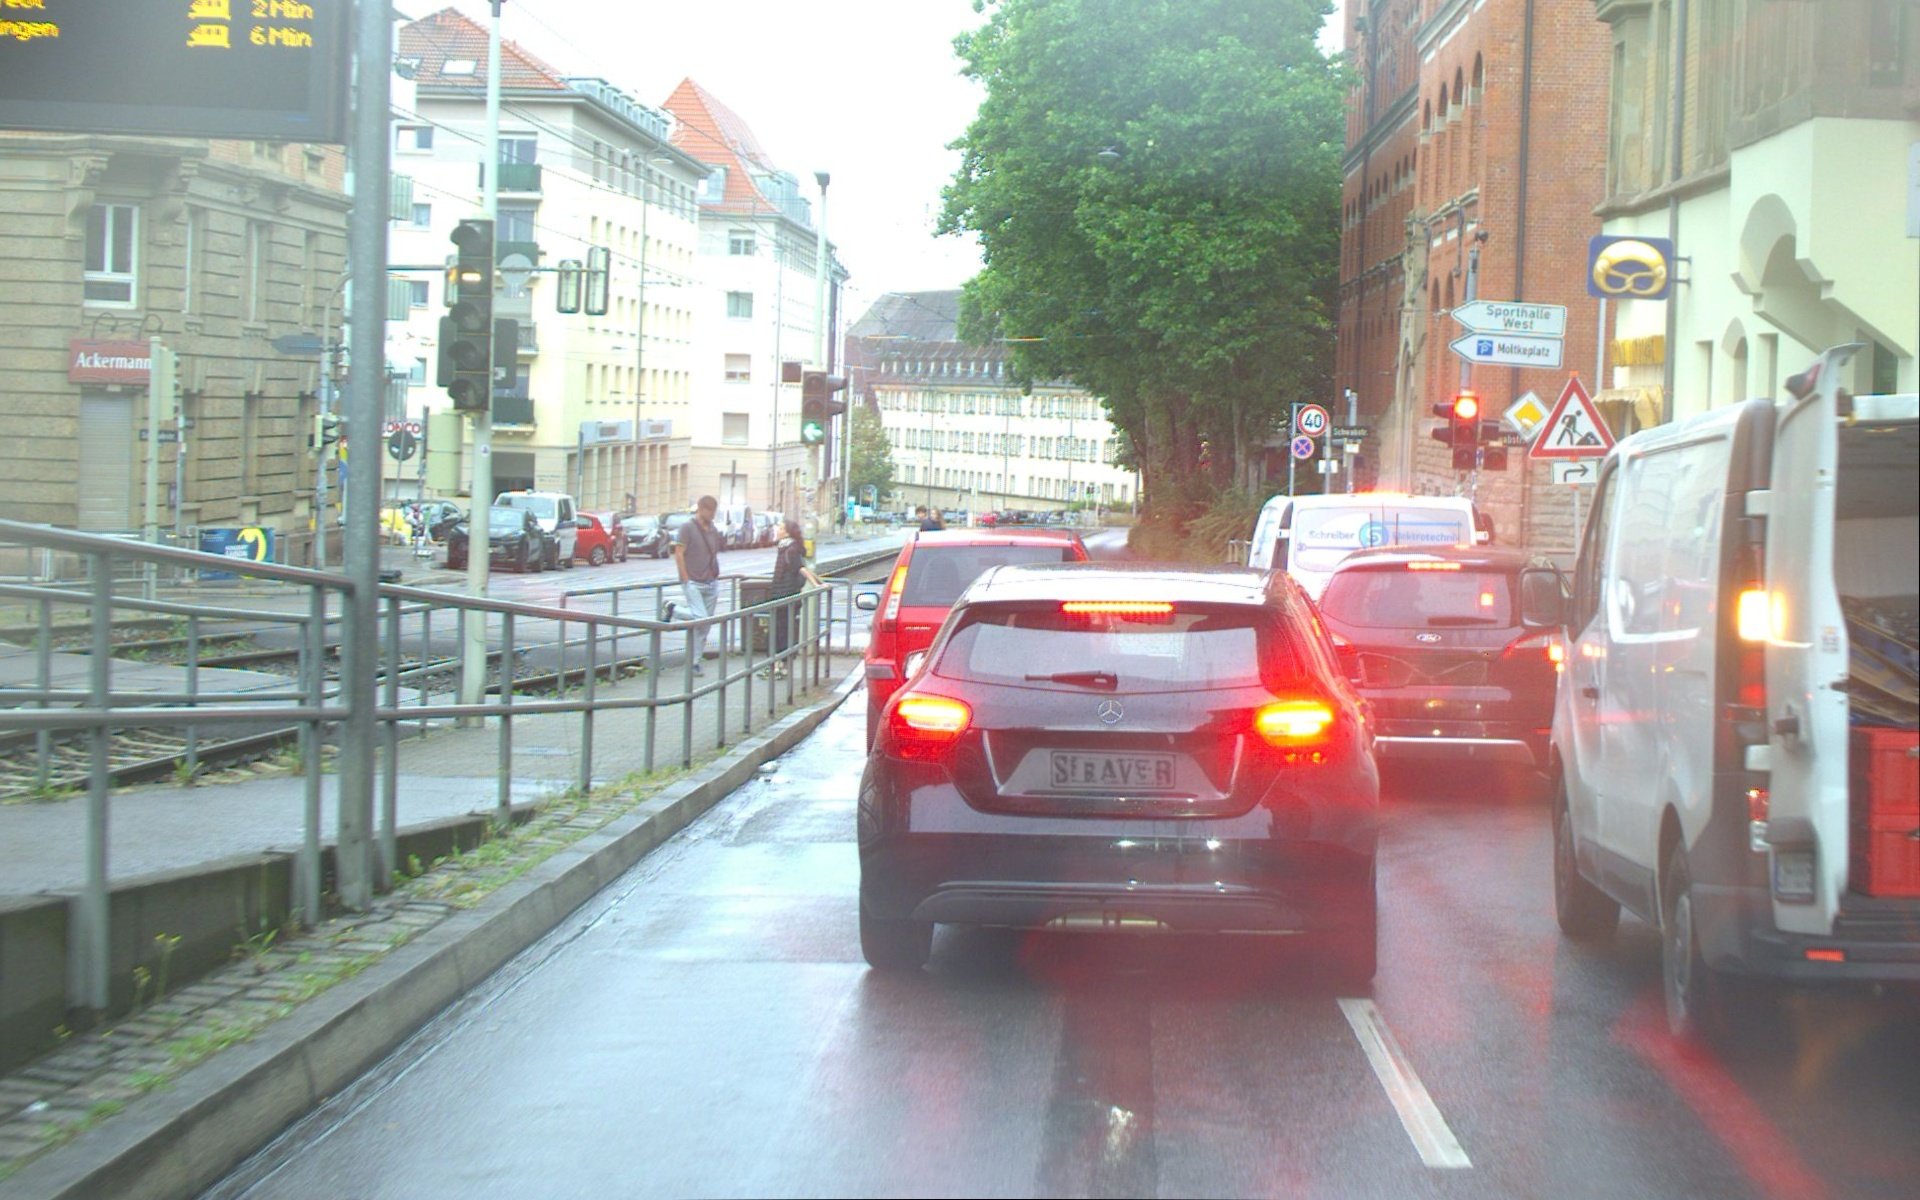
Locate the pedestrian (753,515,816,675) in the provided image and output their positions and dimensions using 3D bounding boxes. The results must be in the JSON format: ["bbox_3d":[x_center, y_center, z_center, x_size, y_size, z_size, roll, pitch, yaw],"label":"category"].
[{"bbox_3d":[-1.709,-0.056,33.356,0.531,1.525,0.436,2,1,-5],"label":"pedestrian"}]

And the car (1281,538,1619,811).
[{"bbox_3d":[2.969,0.382,21.600,1.713,1.464,4.280,3,1,4],"label":"car"}]

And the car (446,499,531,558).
[{"bbox_3d":[-11.315,-1.725,82.605,1.452,1.314,3.295,3,2,1],"label":"car"}]

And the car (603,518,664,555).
[{"bbox_3d":[-10.281,-1.999,108.341,1.437,1.103,3.161,2,1,3],"label":"car"}]

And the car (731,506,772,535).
[{"bbox_3d":[-9.012,-3.438,148.558,1.395,1.167,3.161,2,1,3],"label":"car"}]

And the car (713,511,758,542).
[{"bbox_3d":[-9.101,-2.983,139.459,1.395,1.167,3.161,2,1,3],"label":"car"}]

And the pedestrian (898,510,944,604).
[{"bbox_3d":[-0.700,-0.767,61.405,0.679,1.655,0.676,2,1,9],"label":"pedestrian"}]

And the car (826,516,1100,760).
[{"bbox_3d":[0.033,0.197,23.390,1.680,1.484,3.613,2,1,0],"label":"car"}]

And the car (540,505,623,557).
[{"bbox_3d":[-10.543,-1.934,95.875,1.680,1.351,3.703,2,1,3],"label":"car"}]

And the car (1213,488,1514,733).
[{"bbox_3d":[3.291,0.028,28.848,1.933,1.825,4.281,2,1,0],"label":"car"}]

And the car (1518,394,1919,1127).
[{"bbox_3d":[3.106,0.415,11.457,1.921,1.929,4.685,2,1,3],"label":"car"}]

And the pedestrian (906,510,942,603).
[{"bbox_3d":[-0.650,-0.791,62.634,0.518,1.660,0.476,4,1,6],"label":"pedestrian"}]

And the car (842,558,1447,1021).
[{"bbox_3d":[0.702,0.584,13.073,1.895,1.385,4.000,2,1,3],"label":"car"}]

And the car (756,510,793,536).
[{"bbox_3d":[-8.688,-3.595,161.120,1.395,1.167,3.161,2,1,3],"label":"car"}]

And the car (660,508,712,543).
[{"bbox_3d":[-9.695,-2.644,121.767,1.395,1.167,3.161,2,1,3],"label":"car"}]

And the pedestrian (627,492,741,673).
[{"bbox_3d":[-2.690,-0.171,33.487,0.739,1.718,0.741,1,1,-41],"label":"pedestrian"}]

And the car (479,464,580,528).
[{"bbox_3d":[-11.114,-2.670,88.958,1.786,1.525,4.462,2,1,3],"label":"car"}]
